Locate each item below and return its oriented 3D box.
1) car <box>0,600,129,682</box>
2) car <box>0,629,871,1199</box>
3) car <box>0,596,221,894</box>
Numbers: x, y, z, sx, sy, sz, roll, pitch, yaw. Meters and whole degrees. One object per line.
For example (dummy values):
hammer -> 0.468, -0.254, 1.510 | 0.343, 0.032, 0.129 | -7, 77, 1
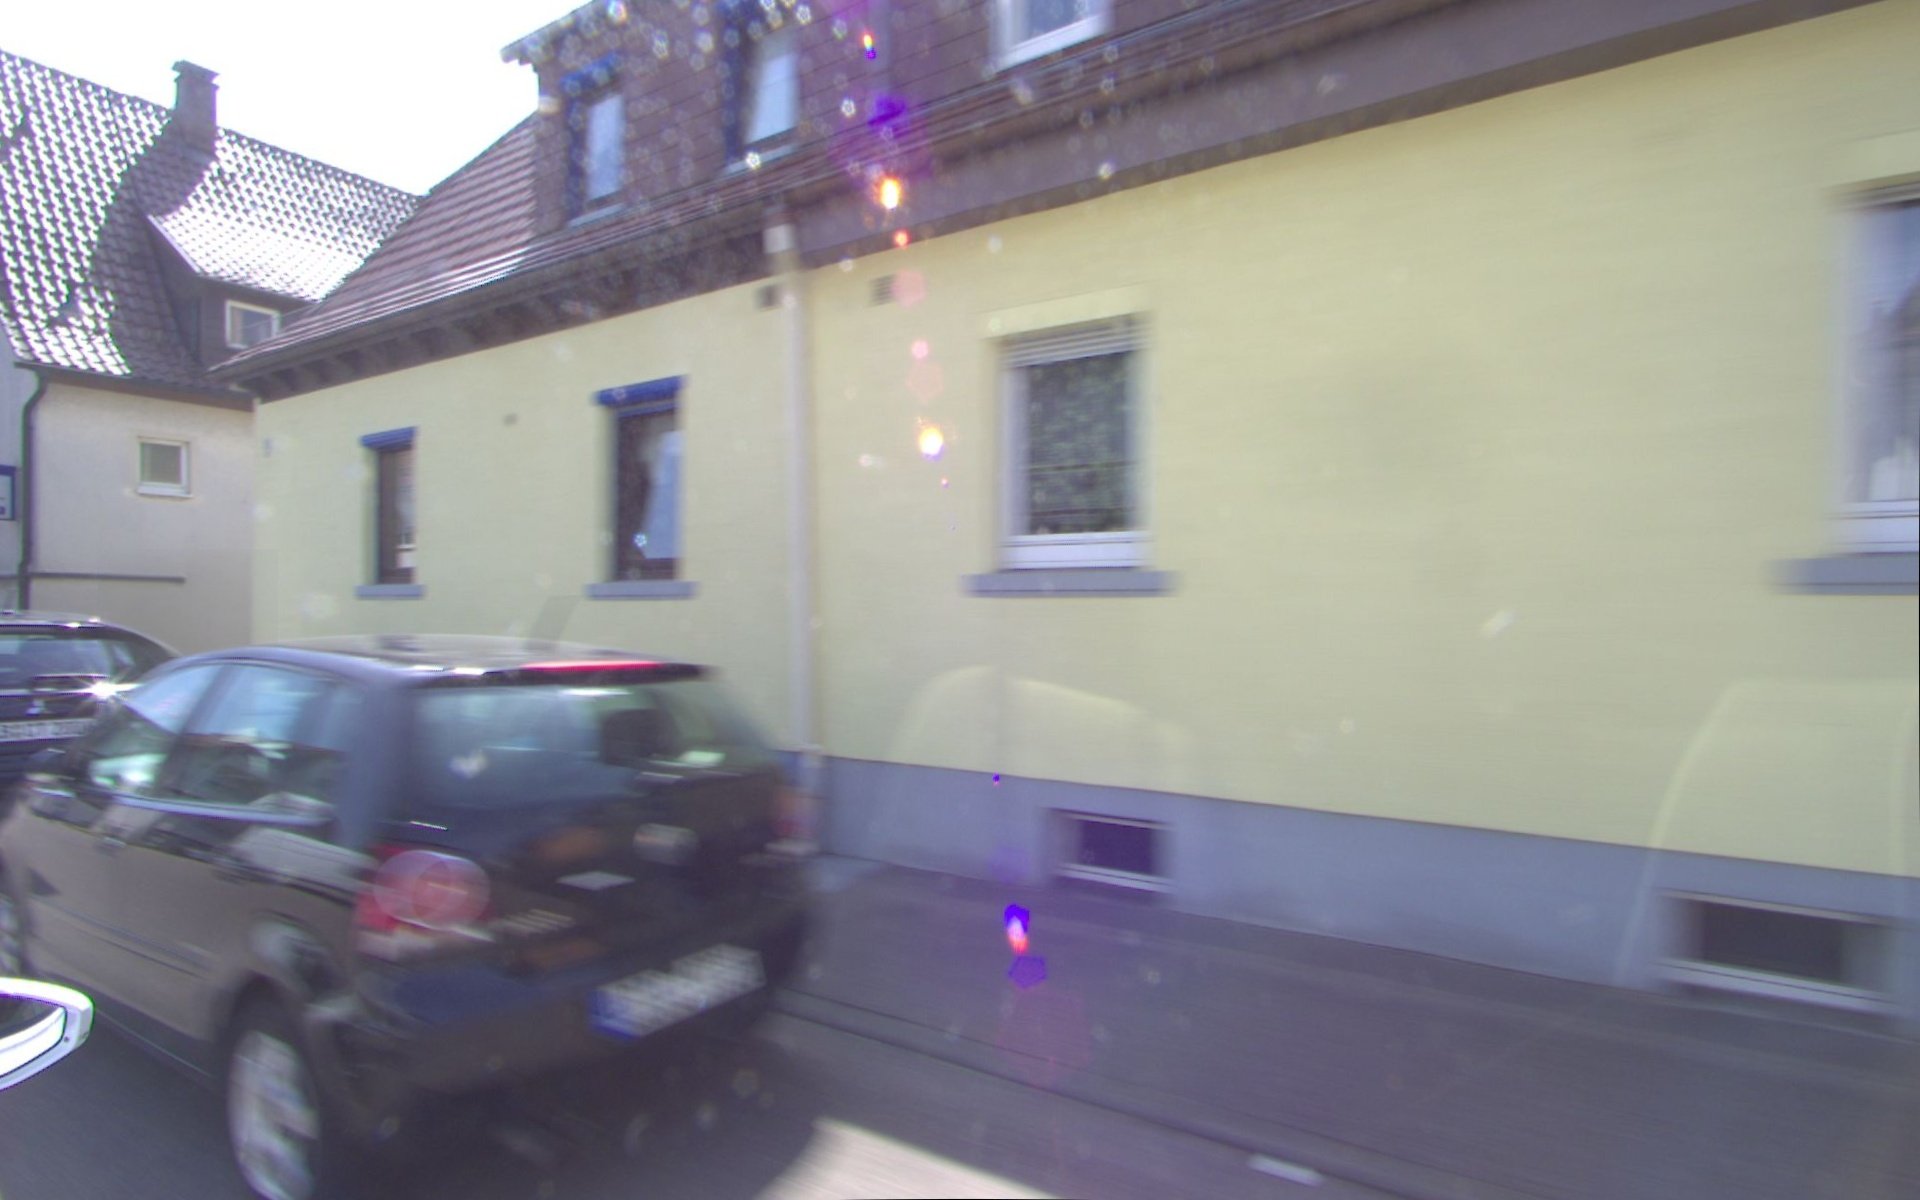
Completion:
car -> -22.736, 0.958, 23.548 | 1.971, 1.866, 4.509 | 0, -2, 31
car -> -2.267, 0.850, 3.762 | 3.704, 1.449, 1.607 | -1, -2, 35
car -> -6.850, 0.817, 6.765 | 4.195, 1.620, 1.724 | -1, -2, 35
